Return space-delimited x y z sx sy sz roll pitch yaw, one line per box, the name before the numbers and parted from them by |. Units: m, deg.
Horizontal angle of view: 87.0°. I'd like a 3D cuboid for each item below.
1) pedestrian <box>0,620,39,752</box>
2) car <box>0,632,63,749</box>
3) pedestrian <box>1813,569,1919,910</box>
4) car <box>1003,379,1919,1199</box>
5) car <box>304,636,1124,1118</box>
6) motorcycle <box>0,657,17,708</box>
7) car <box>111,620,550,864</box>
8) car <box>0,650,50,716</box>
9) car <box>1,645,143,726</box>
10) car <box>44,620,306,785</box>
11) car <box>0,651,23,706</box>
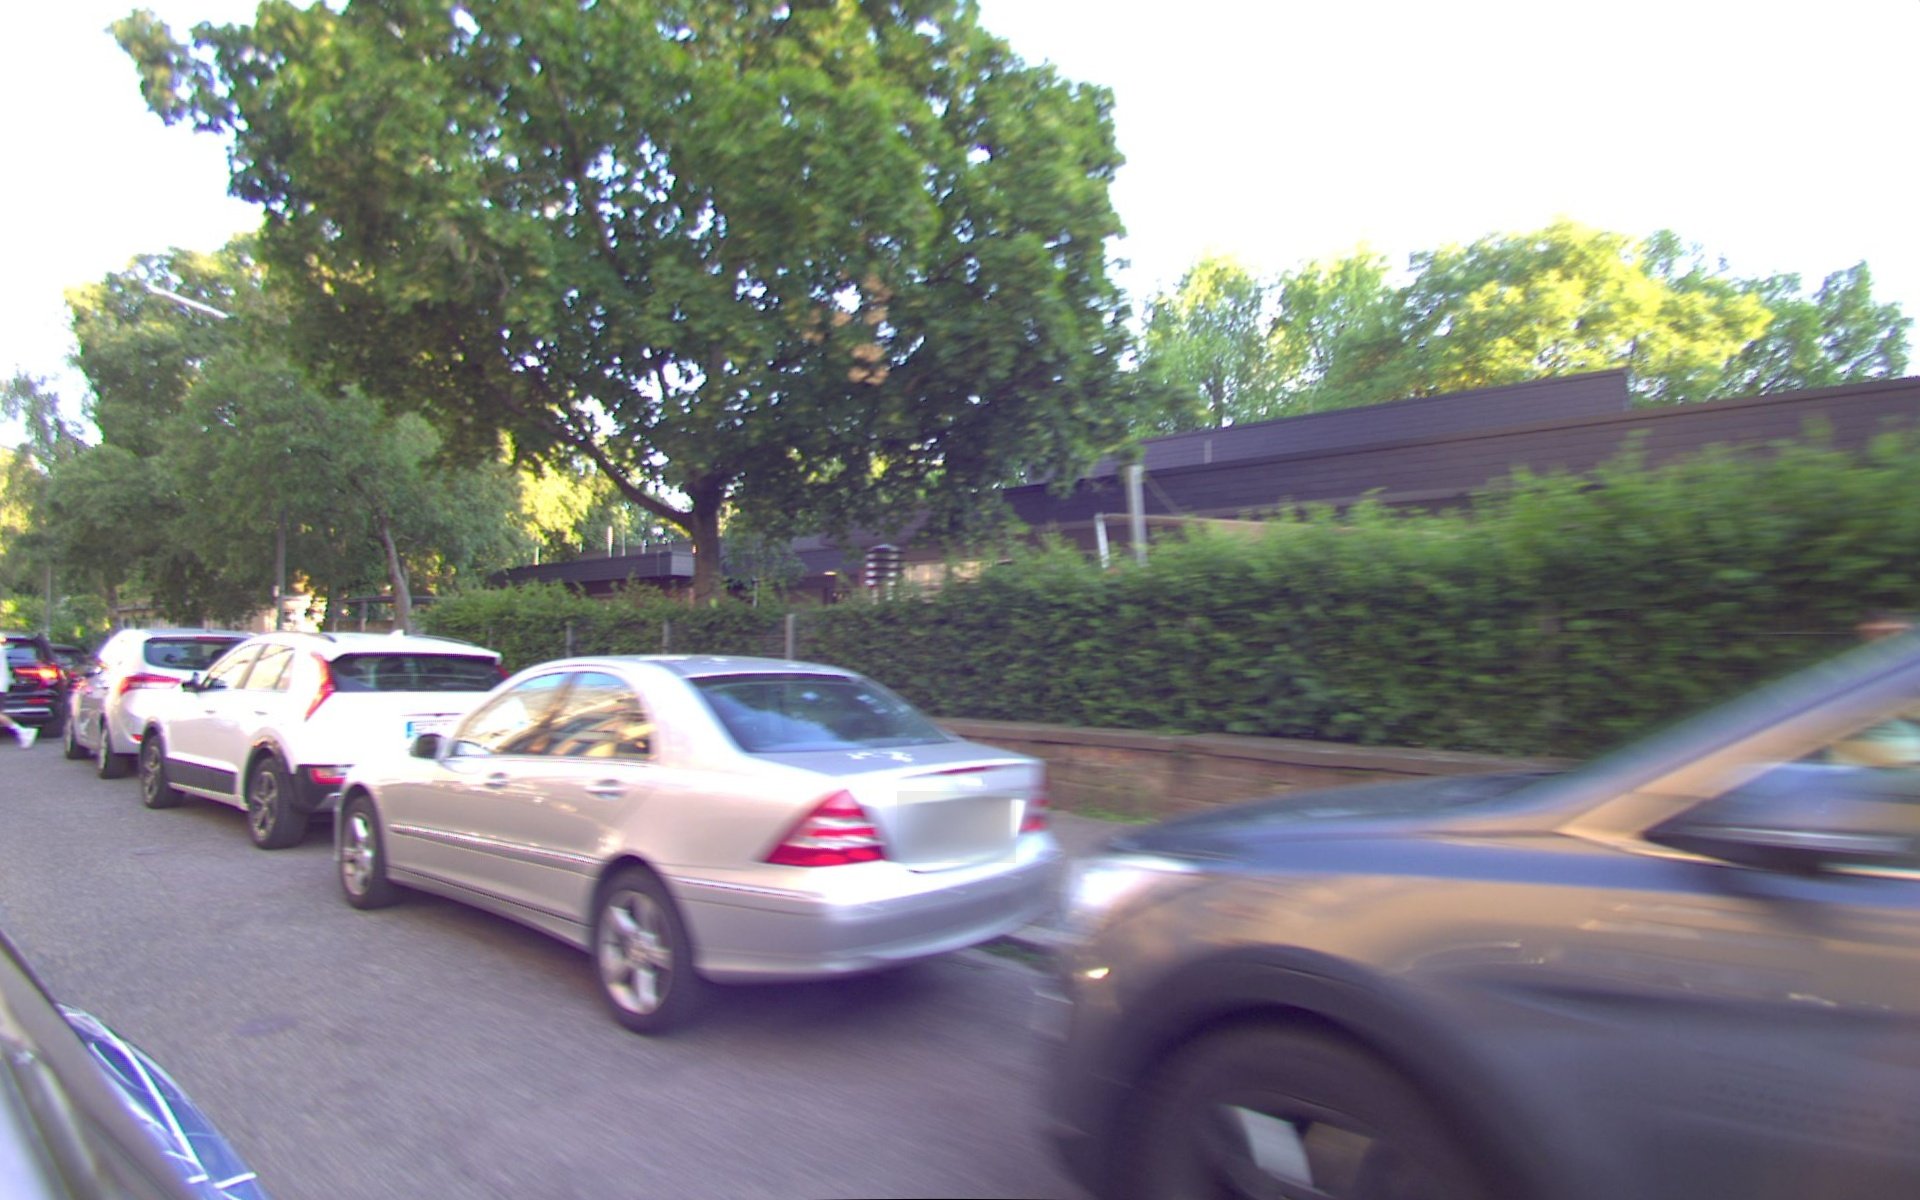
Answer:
pedestrian | -12.742 1.133 13.368 0.557 1.715 0.739 -2 -1 37
car | -14.984 1.336 15.555 1.712 1.644 4.130 4 -5 -42
pedestrian | 4.607 0.611 4.716 0.901 1.519 0.741 -2 0 39
car | 2.310 0.606 1.540 4.317 1.744 1.717 -2 -5 38
car | -1.480 0.943 5.081 4.281 1.438 1.717 -2 -5 38
motorcycle | -24.611 2.074 25.212 0.785 1.268 1.575 -2 -3 43
car | -5.417 1.020 8.504 4.275 1.555 1.742 -2 -5 38
car | -22.678 1.892 23.565 3.803 1.457 1.715 -3 -5 41
car | -17.436 1.628 19.827 3.414 1.436 1.602 -3 -5 41
car | -9.437 1.133 12.064 3.979 1.644 1.715 -3 -5 42
car | -26.814 2.098 27.312 3.801 1.436 1.716 -2 -5 40
